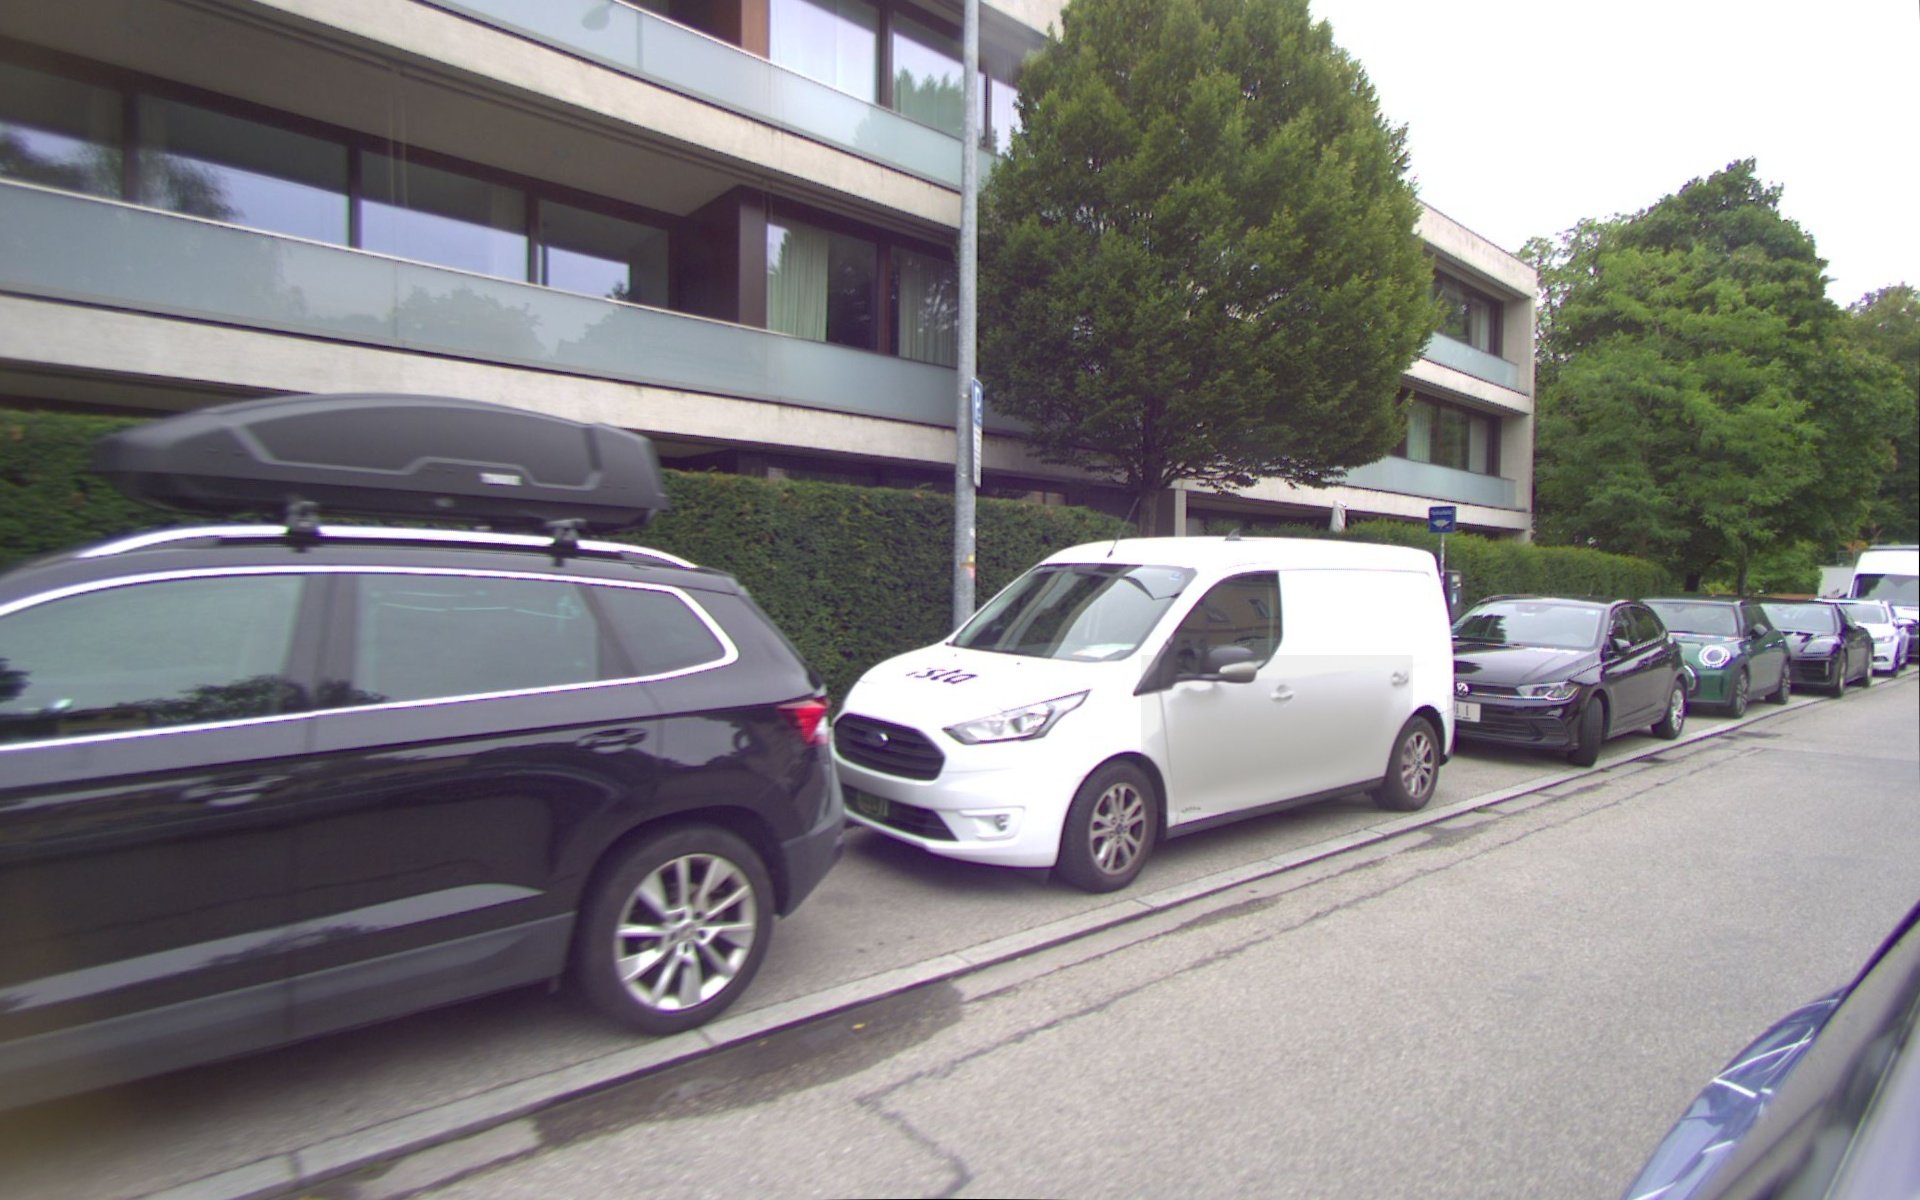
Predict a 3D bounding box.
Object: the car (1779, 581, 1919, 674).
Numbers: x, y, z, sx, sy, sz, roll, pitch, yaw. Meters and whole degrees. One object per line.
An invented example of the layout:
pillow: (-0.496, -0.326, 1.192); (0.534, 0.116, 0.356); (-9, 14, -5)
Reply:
car: (18.572, 0.519, 20.918); (4.918, 1.588, 1.873); (1, 3, -44)

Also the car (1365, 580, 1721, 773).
car: (5.904, 0.598, 10.038); (4.168, 1.482, 1.751); (0, 2, -41)

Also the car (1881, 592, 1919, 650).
car: (28.205, 0.646, 29.202); (4.754, 1.525, 1.874); (1, 3, -42)

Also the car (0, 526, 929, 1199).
car: (-2.402, 0.572, 3.082); (4.517, 1.499, 1.751); (1, 1, -41)

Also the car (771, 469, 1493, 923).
car: (1.387, 0.401, 6.445); (4.810, 1.884, 1.826); (1, 0, -39)

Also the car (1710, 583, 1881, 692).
car: (14.014, 0.569, 16.860); (5.115, 1.524, 1.284); (1, 3, -41)

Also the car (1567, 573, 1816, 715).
car: (9.846, 0.496, 13.505); (4.130, 1.547, 1.731); (1, 3, -41)

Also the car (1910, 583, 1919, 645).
car: (32.234, 0.522, 32.401); (4.981, 1.928, 1.940); (1, 3, -40)

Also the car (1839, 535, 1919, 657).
car: (23.699, -0.063, 25.070); (5.983, 2.719, 2.083); (1, 3, -42)
